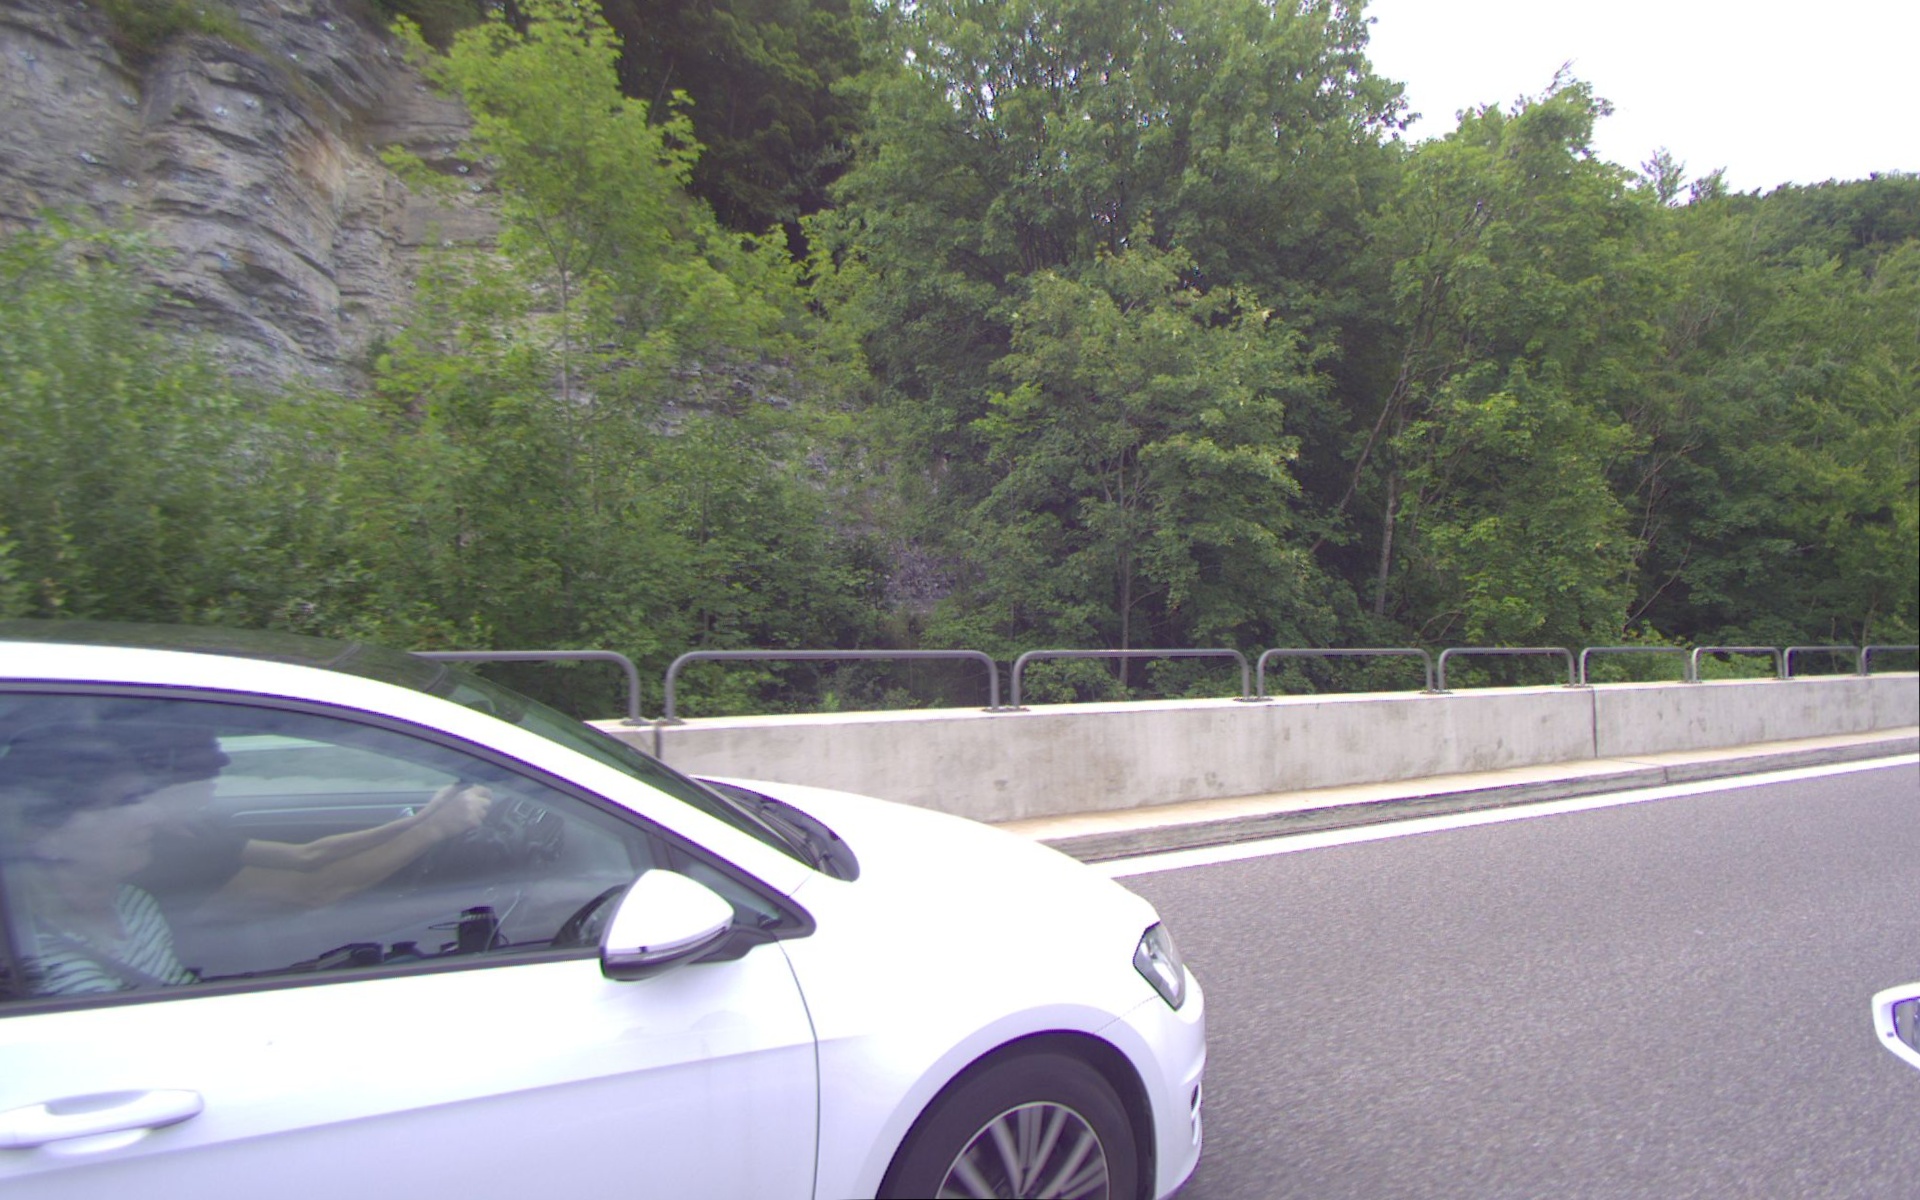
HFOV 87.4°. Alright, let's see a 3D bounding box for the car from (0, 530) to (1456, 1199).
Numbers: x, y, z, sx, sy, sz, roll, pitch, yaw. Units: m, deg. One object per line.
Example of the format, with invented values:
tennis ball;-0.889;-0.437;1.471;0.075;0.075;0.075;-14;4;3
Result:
car;-1.209;0.698;2.139;4.573;1.501;1.836;-1;-2;-30
